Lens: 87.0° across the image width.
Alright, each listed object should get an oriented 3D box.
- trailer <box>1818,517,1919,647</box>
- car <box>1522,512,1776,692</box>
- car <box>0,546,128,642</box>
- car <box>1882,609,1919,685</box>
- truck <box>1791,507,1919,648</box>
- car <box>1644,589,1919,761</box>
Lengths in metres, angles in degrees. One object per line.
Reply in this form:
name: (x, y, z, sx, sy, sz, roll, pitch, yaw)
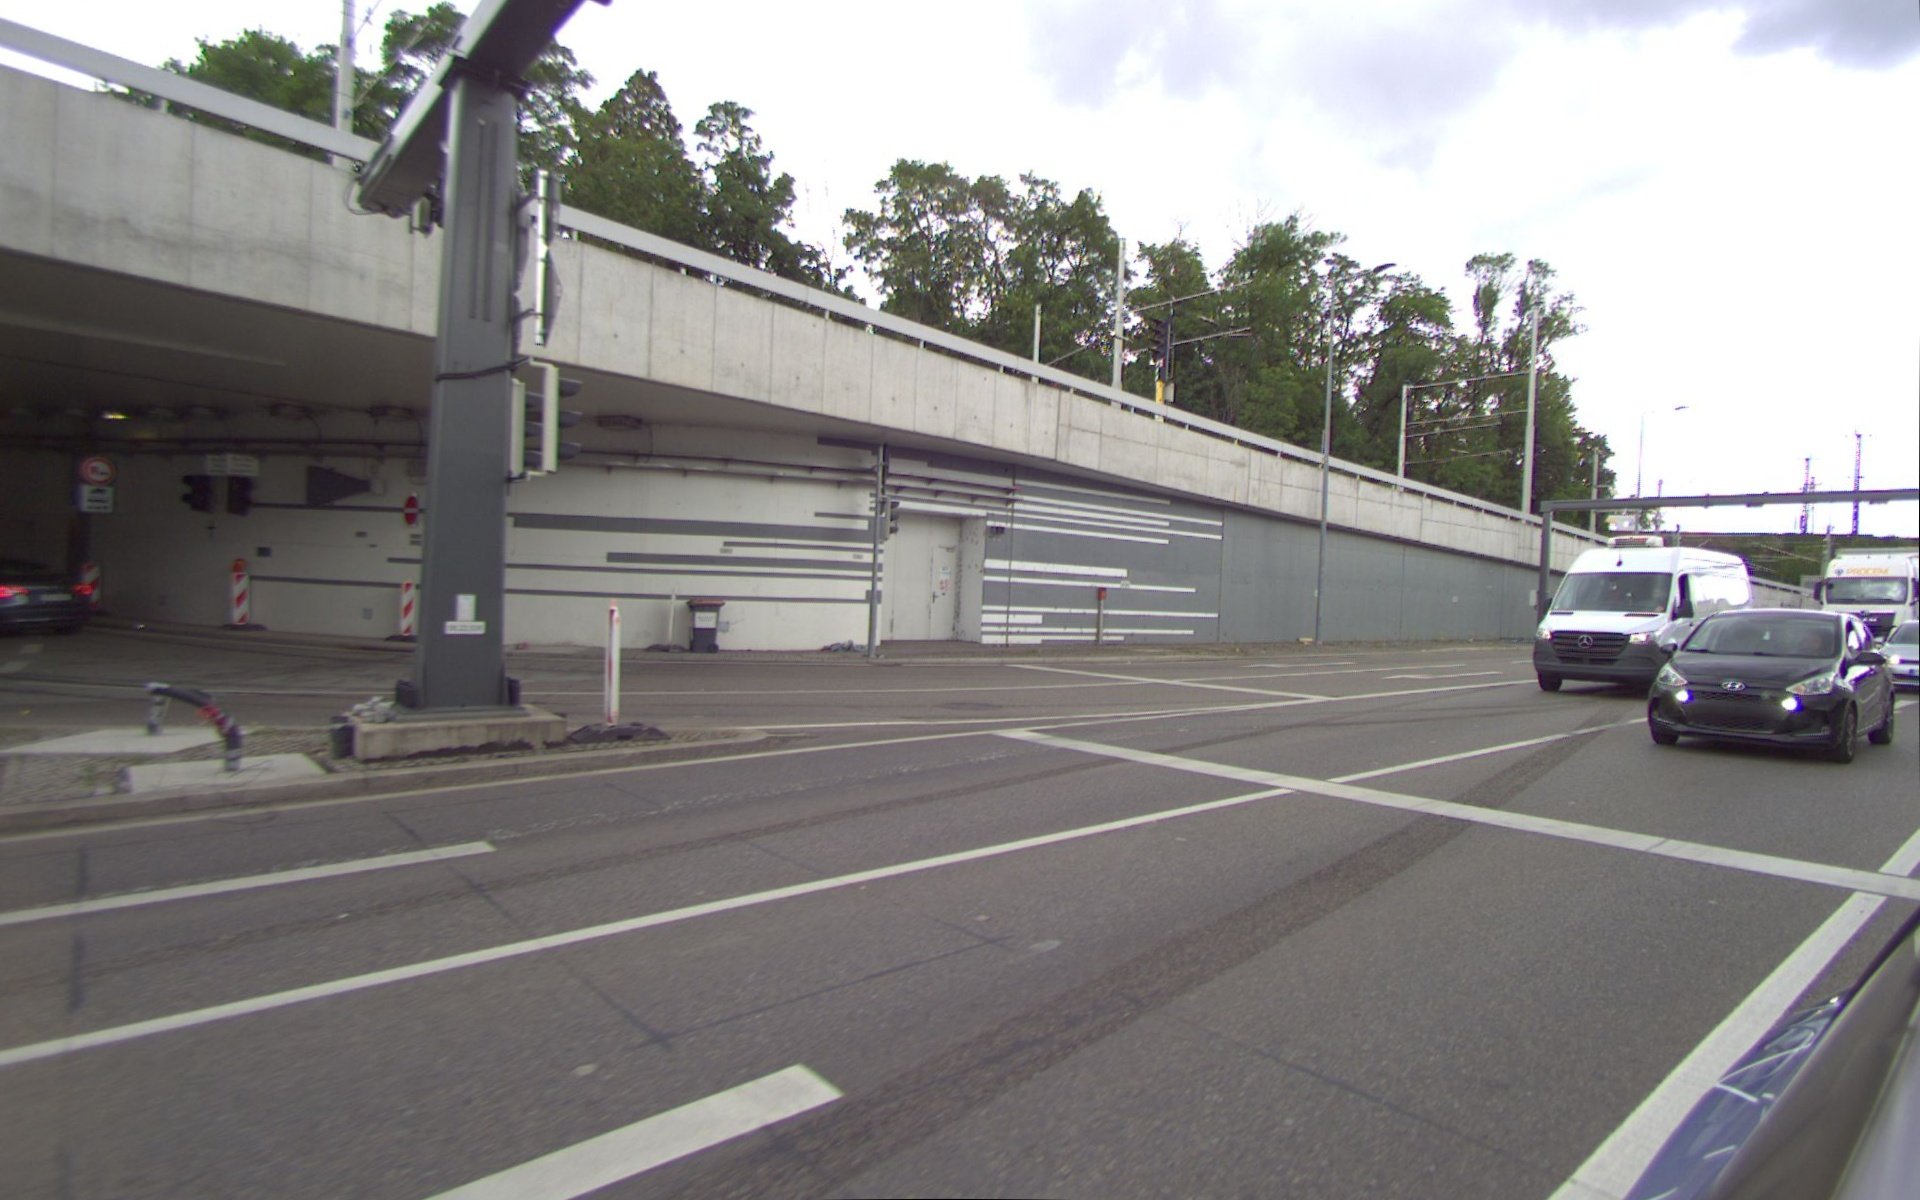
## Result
trailer: (38.796, -0.545, 41.345, 11.897, 4.691, 3.812, 2, -1, -40)
car: (13.063, 0.085, 18.897, 7.196, 2.808, 2.079, 2, 0, -41)
car: (-18.154, -0.209, 18.751, 4.400, 1.417, 1.994, 4, 5, 13)
car: (19.737, 0.909, 20.017, 3.968, 1.400, 1.767, 0, 1, -41)
truck: (33.578, -0.680, 36.909, 7.309, 4.691, 3.812, 2, -1, -40)
car: (9.037, 0.720, 11.038, 3.626, 1.564, 1.685, 2, -1, -40)
